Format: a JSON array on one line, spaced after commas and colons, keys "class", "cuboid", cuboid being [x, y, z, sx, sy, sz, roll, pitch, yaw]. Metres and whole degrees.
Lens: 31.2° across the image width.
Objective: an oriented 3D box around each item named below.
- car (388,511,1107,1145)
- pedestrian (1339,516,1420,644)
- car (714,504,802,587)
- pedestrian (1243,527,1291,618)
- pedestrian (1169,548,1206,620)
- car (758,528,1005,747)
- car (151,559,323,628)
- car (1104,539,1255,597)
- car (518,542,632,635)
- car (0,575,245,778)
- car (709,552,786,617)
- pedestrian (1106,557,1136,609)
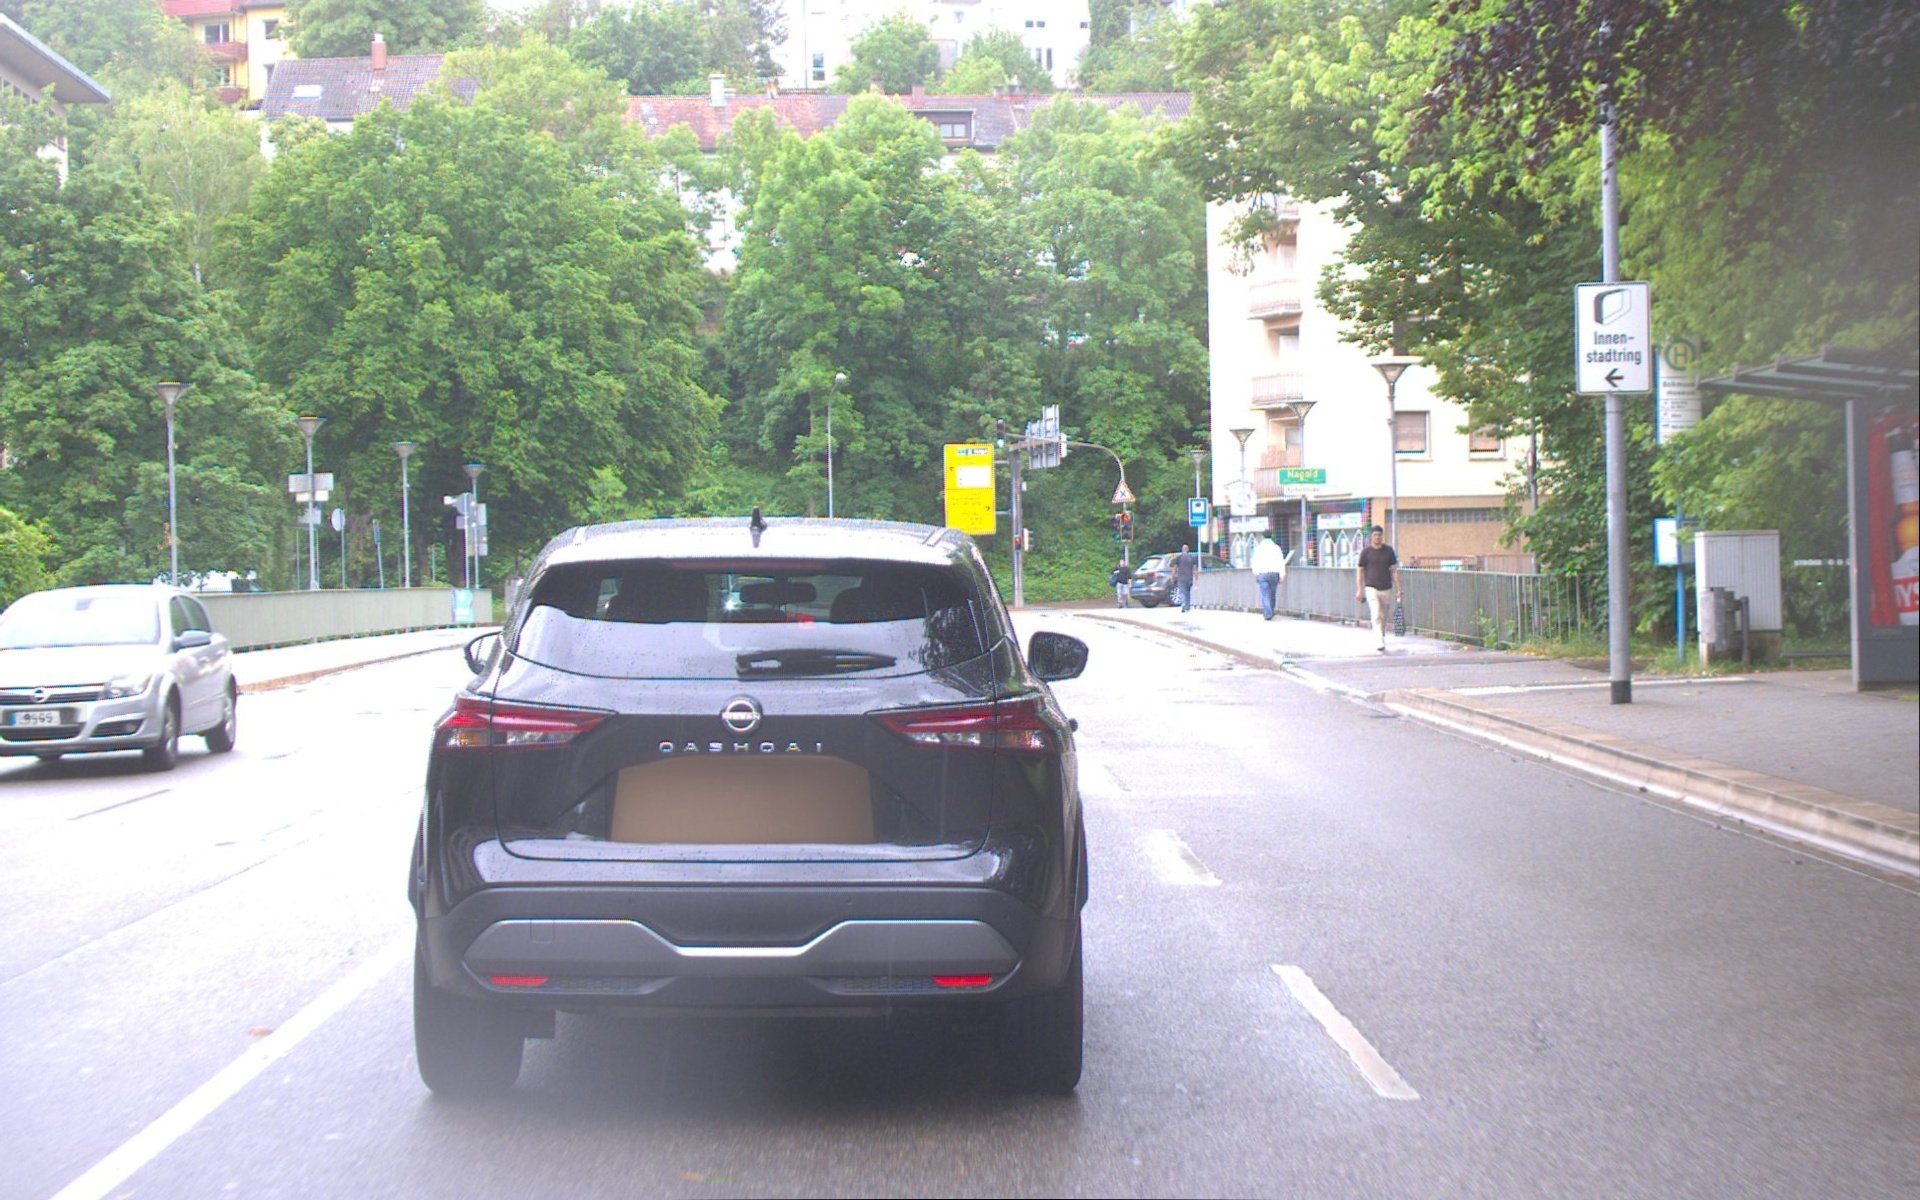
[{"class": "car", "cuboid": [-0.566, 0.541, 10.671, 1.811, 1.597, 4.000, 0, 1, -1]}, {"class": "pedestrian", "cuboid": [5.685, -0.265, 46.618, 0.847, 1.670, 1.168, -3, 0, -1]}, {"class": "car", "cuboid": [-5.992, -1.656, 102.792, 2.289, 2.300, 6.510, -2, 1, -1]}, {"class": "pedestrian", "cuboid": [5.968, -0.527, 66.934, 0.779, 1.746, 1.061, -1, 0, -1]}, {"class": "pedestrian", "cuboid": [5.477, -0.391, 82.873, 0.761, 1.671, 0.781, -3, 1, -1]}, {"class": "car", "cuboid": [-0.611, 0.243, 27.301, 1.811, 1.597, 4.000, 0, 1, -1]}, {"class": "car", "cuboid": [-20.839, -0.191, 99.299, 4.741, 1.848, 2.001, -1, 2, -9]}, {"class": "car", "cuboid": [6.991, -1.013, 109.330, 4.366, 1.643, 1.884, -3, 0, -26]}, {"class": "car", "cuboid": [-7.124, -0.249, 63.911, 1.813, 1.573, 4.232, -2, 1, -3]}, {"class": "car", "cuboid": [-7.027, 0.569, 27.704, 1.813, 1.411, 4.049, -2, 1, -3]}, {"class": "car", "cuboid": [-5.178, -0.399, 84.086, 1.781, 1.469, 4.167, -2, 1, -3]}, {"class": "pedestrian", "cuboid": [5.101, -0.537, 109.093, 0.862, 1.613, 0.839, -2, 0, -1]}]
